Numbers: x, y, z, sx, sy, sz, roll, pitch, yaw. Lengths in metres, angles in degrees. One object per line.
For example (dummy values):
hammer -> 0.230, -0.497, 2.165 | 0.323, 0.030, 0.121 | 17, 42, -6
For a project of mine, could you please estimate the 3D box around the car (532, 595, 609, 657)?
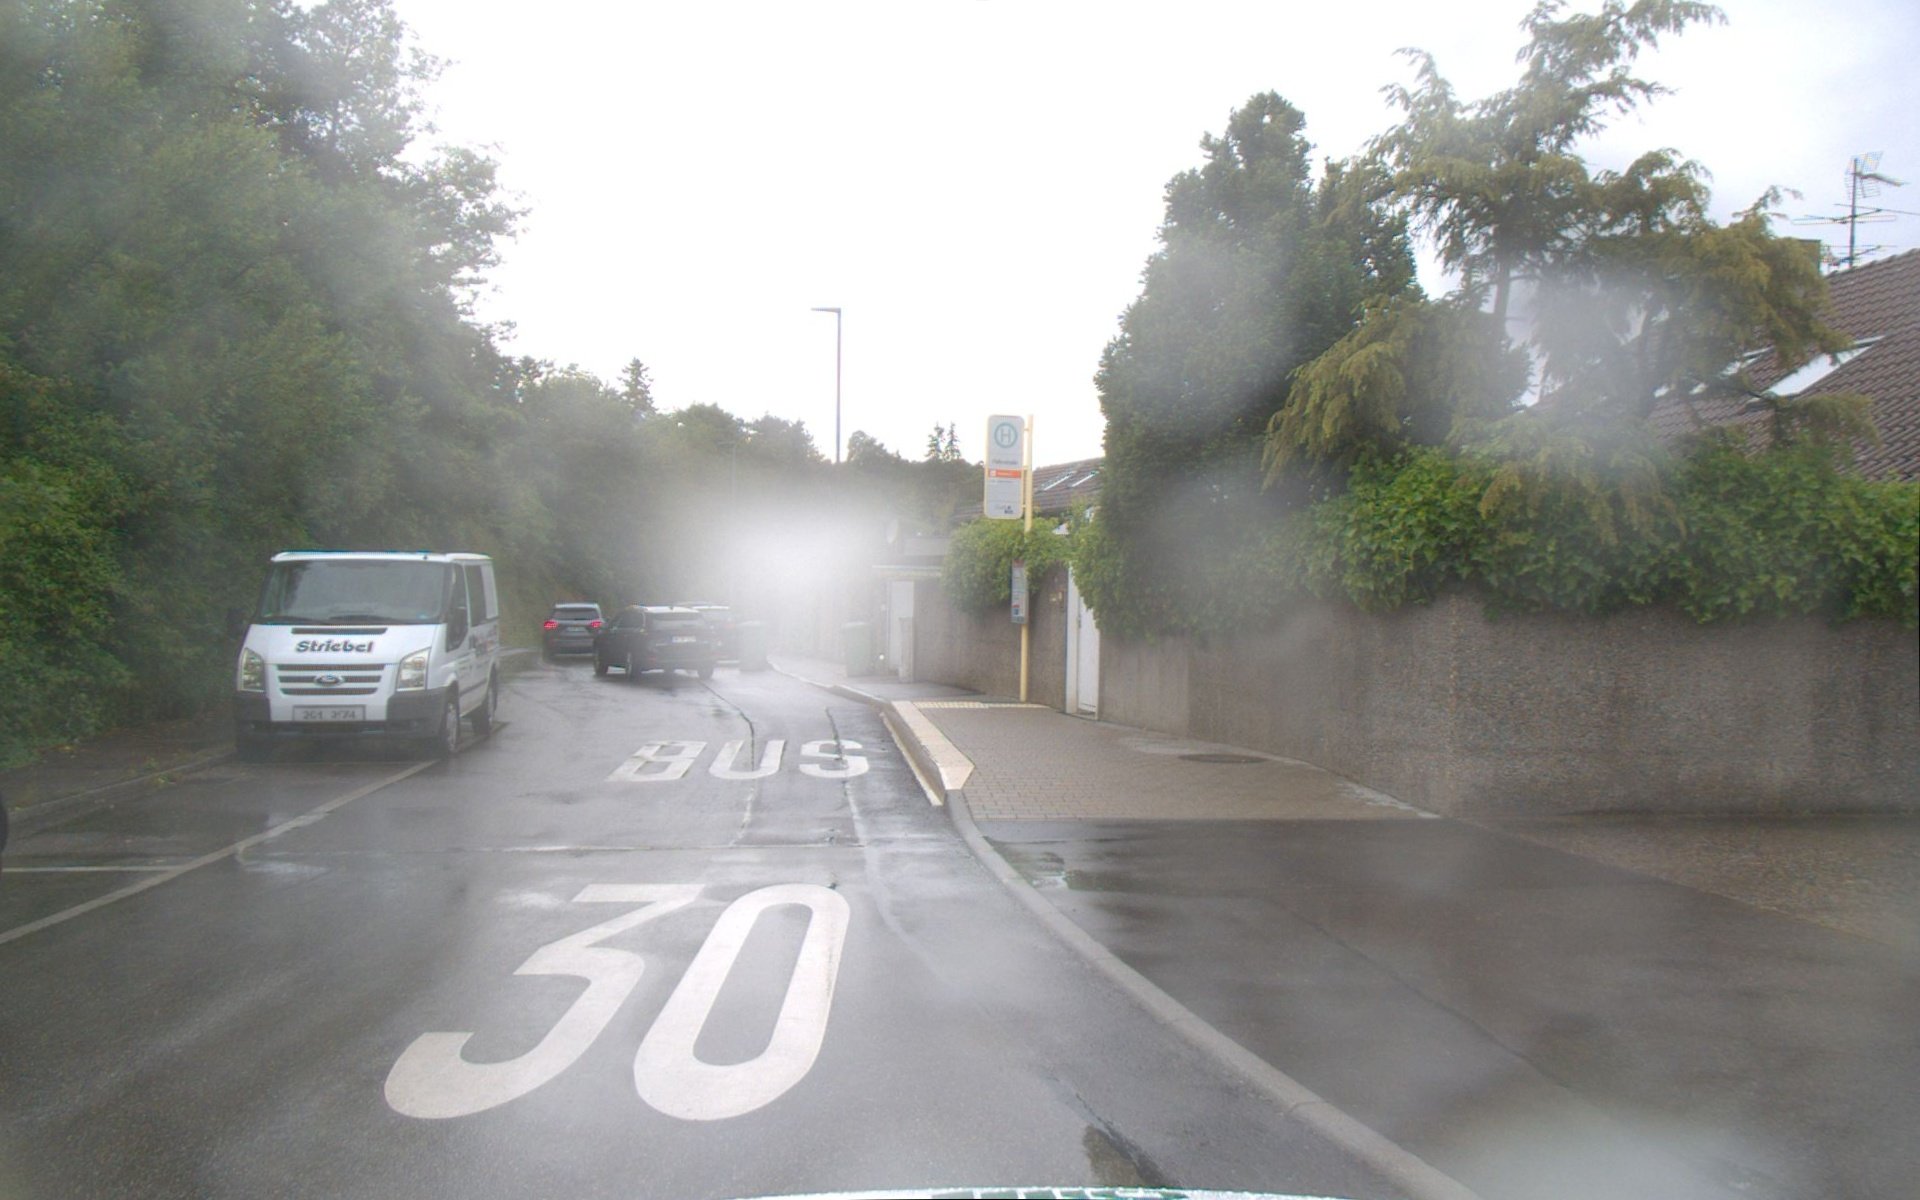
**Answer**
car -> -10.851, 0.687, 46.181 | 1.959, 1.633, 4.394 | 1, 0, -13

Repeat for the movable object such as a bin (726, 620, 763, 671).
movable object such as a bin -> -4.867, 1.023, 37.377 | 0.704, 1.115, 0.653 | 1, 0, -18

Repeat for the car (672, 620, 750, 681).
car -> -6.744, 1.313, 44.423 | 1.725, 1.487, 4.286 | 1, 0, -13

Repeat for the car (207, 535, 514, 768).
car -> -5.909, 0.440, 17.012 | 2.073, 2.009, 5.161 | 0, 0, -10

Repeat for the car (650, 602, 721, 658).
car -> -8.309, 0.869, 49.815 | 1.843, 1.620, 4.464 | 0, 0, -13

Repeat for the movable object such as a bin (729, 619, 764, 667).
movable object such as a bin -> -4.966, 0.990, 38.531 | 0.717, 1.097, 0.658 | 1, 0, -15

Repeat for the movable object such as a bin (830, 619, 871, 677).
movable object such as a bin -> -2.210, 0.958, 33.275 | 0.725, 1.107, 0.598 | -2, 0, -11

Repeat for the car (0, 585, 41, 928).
car -> -5.015, 0.702, 6.253 | 1.570, 1.538, 2.940 | 0, 0, -4

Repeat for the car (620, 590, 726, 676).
car -> -6.047, 0.739, 34.487 | 1.837, 1.539, 4.076 | 3, -4, -14
